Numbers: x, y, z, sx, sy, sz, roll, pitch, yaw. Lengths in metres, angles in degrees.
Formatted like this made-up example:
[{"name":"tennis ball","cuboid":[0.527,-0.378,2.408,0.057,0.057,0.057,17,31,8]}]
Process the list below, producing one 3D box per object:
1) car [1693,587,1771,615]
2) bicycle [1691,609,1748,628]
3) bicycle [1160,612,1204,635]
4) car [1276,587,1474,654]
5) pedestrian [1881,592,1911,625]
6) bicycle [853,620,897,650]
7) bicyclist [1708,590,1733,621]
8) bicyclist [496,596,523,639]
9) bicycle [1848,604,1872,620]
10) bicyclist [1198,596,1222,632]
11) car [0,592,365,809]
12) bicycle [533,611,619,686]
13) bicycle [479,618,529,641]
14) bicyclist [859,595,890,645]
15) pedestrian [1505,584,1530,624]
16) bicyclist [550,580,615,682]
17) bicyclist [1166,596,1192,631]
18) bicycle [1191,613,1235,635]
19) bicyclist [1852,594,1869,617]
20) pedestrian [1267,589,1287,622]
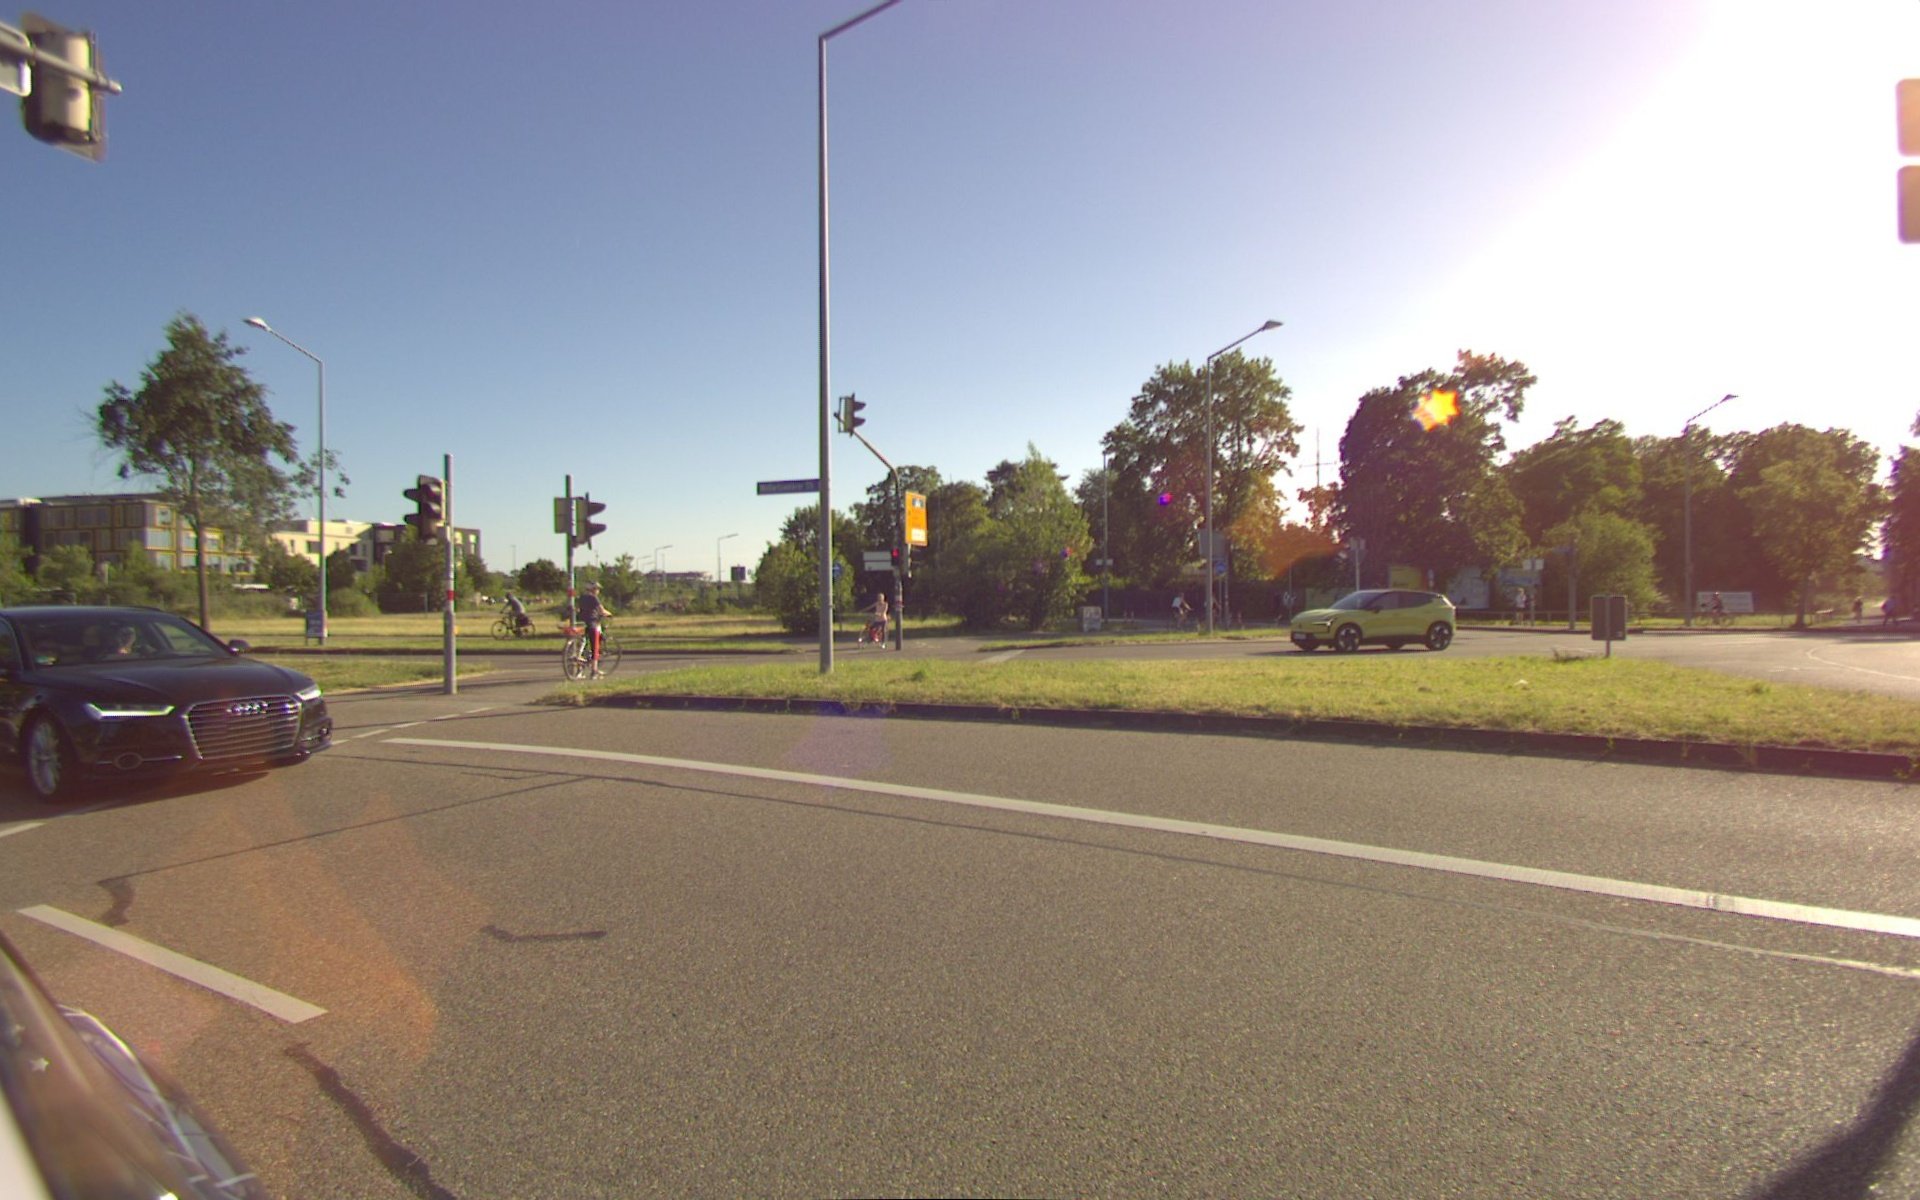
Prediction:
[{"name":"car","cuboid":[51.617,0.071,67.762,3.713,1.819,1.828,-1,0,18]},{"name":"bicycle","cuboid":[38.988,0.948,51.945,2.240,0.995,0.660,0,0,13]},{"name":"bicycle","cuboid":[9.066,0.946,41.322,1.857,0.859,0.619,-1,0,-32]},{"name":"car","cuboid":[10.485,0.489,25.661,4.252,1.553,2.015,-1,0,-15]},{"name":"pedestrian","cuboid":[46.887,0.434,50.701,0.754,1.641,0.881,-1,0,16]},{"name":"bicycle","cuboid":[-2.654,1.089,31.812,0.613,0.859,1.876,-1,0,20]},{"name":"bicyclist","cuboid":[39.009,0.285,51.931,0.826,1.592,0.660,0,0,13]},{"name":"bicyclist","cuboid":[-16.761,0.641,37.643,0.845,1.576,0.430,-1,0,19]},{"name":"bicycle","cuboid":[56.531,0.746,63.551,1.838,1.019,0.588,0,0,-30]},{"name":"bicyclist","cuboid":[10.097,0.563,40.919,0.707,1.403,0.619,-1,0,-32]},{"name":"car","cuboid":[-7.619,0.717,8.740,4.988,1.454,1.783,-1,1,25]},{"name":"bicycle","cuboid":[-6.360,0.778,16.868,0.695,1.137,1.653,0,1,5]},{"name":"bicycle","cuboid":[-16.993,1.095,37.731,1.874,0.859,0.488,-1,0,19]},{"name":"bicyclist","cuboid":[-2.674,0.622,31.763,0.613,1.528,0.919,-1,0,21]},{"name":"pedestrian","cuboid":[28.475,0.181,51.678,0.930,2.021,0.589,-1,0,-3]},{"name":"bicyclist","cuboid":[-6.353,0.504,17.066,0.695,1.675,0.941,0,1,5]},{"name":"bicyclist","cuboid":[8.907,0.549,41.213,0.823,1.403,0.619,-1,0,-32]},{"name":"bicycle","cuboid":[10.271,0.962,41.020,1.857,0.859,0.619,-1,0,-32]},{"name":"bicyclist","cuboid":[56.543,0.340,63.544,0.743,1.479,0.588,1,0,-30]},{"name":"pedestrian","cuboid":[19.676,0.365,62.857,0.886,2.029,0.821,1,0,-33]}]
